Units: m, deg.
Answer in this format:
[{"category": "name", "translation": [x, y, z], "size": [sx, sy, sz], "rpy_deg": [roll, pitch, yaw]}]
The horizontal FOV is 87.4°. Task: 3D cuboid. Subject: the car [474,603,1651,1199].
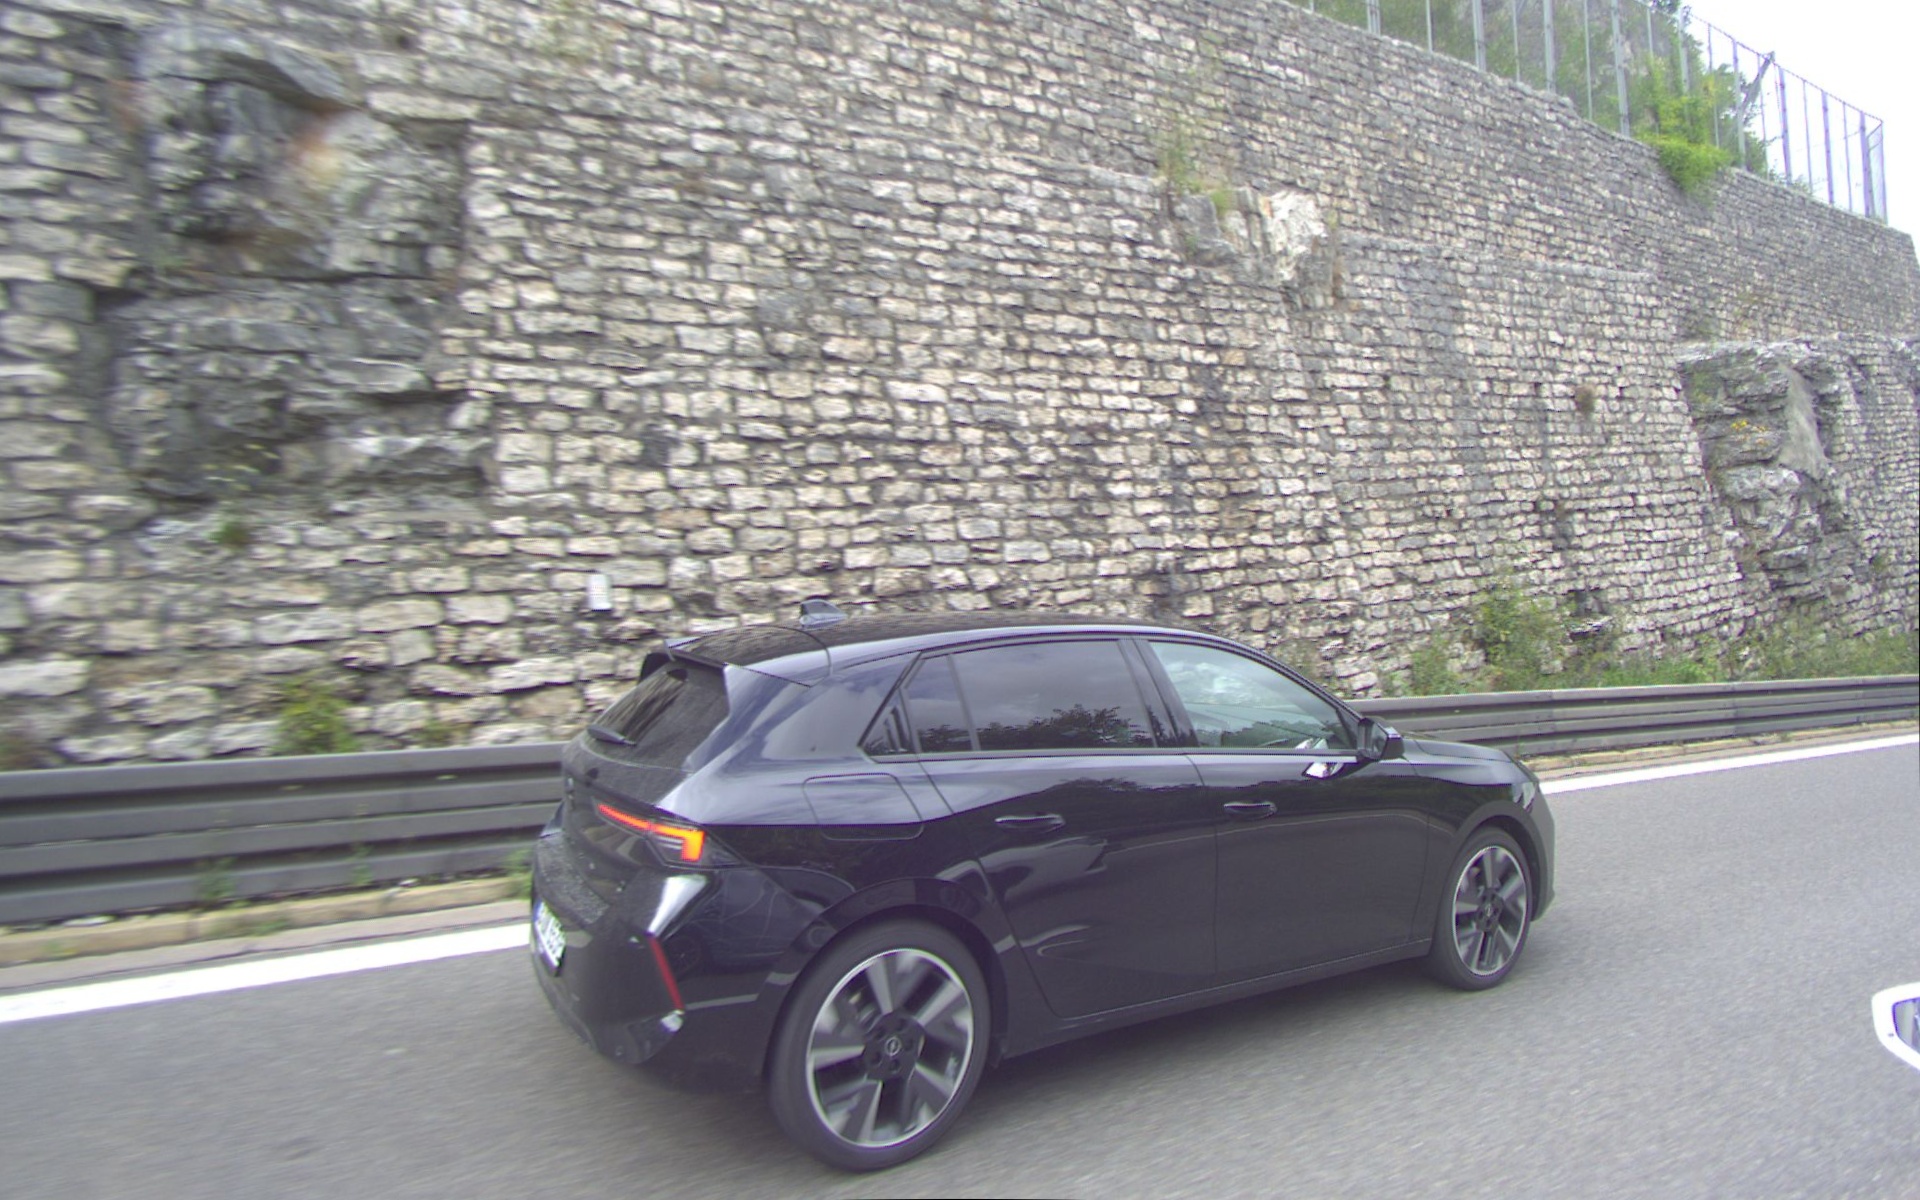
[{"category": "car", "translation": [0.628, 0.803, 4.028], "size": [4.527, 1.480, 1.765], "rpy_deg": [1, 0, -30]}]
